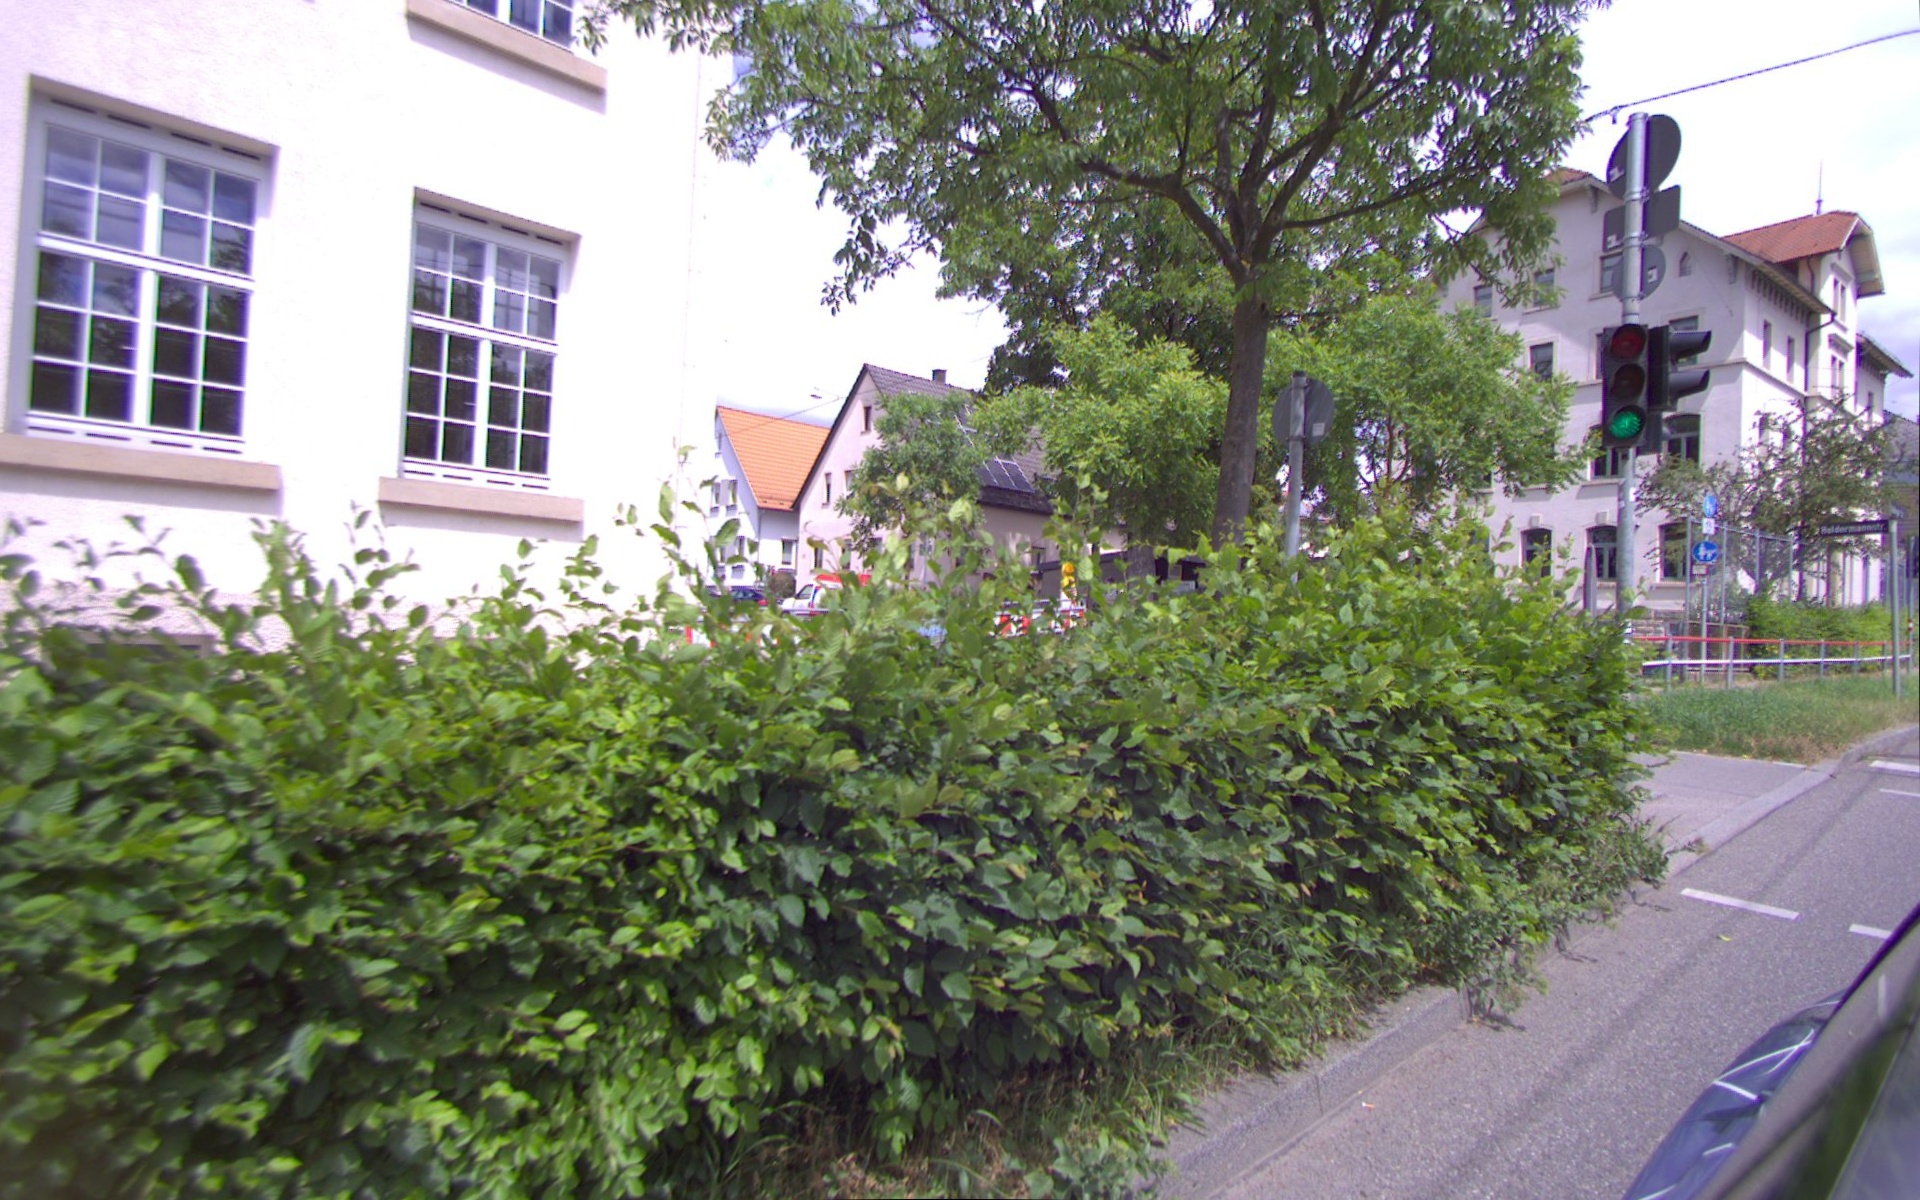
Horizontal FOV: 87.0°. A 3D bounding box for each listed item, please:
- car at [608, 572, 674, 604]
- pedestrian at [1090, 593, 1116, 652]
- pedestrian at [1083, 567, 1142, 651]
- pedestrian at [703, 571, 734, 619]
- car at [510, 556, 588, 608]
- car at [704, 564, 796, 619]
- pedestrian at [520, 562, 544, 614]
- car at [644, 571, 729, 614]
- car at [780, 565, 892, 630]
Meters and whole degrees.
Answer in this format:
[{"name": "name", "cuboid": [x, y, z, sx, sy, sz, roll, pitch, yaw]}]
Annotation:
[{"name": "car", "cuboid": [-15.279, -0.536, 48.395, 1.572, 1.438, 3.993, 1, -1, -41]}, {"name": "pedestrian", "cuboid": [3.098, 0.481, 21.896, 0.401, 1.245, 0.457, 1, 0, 27]}, {"name": "pedestrian", "cuboid": [3.530, 0.216, 23.360, 0.748, 1.842, 1.128, 1, -4, 43]}, {"name": "pedestrian", "cuboid": [-8.883, -0.168, 37.241, 0.835, 1.749, 0.756, 1, -2, -41]}, {"name": "car", "cuboid": [-16.861, -0.753, 41.441, 1.820, 2.039, 3.995, 1, 1, -40]}, {"name": "car", "cuboid": [-8.234, -0.318, 39.550, 1.795, 2.039, 3.994, 1, 0, -41]}, {"name": "pedestrian", "cuboid": [-13.886, -0.379, 32.836, 0.601, 1.676, 0.431, 1, 0, -43]}, {"name": "car", "cuboid": [-11.793, -0.356, 43.516, 1.795, 1.694, 4.355, 1, 1, -41]}, {"name": "car", "cuboid": [-4.401, -0.115, 35.510, 1.963, 2.039, 3.997, 5, -2, -39]}]
